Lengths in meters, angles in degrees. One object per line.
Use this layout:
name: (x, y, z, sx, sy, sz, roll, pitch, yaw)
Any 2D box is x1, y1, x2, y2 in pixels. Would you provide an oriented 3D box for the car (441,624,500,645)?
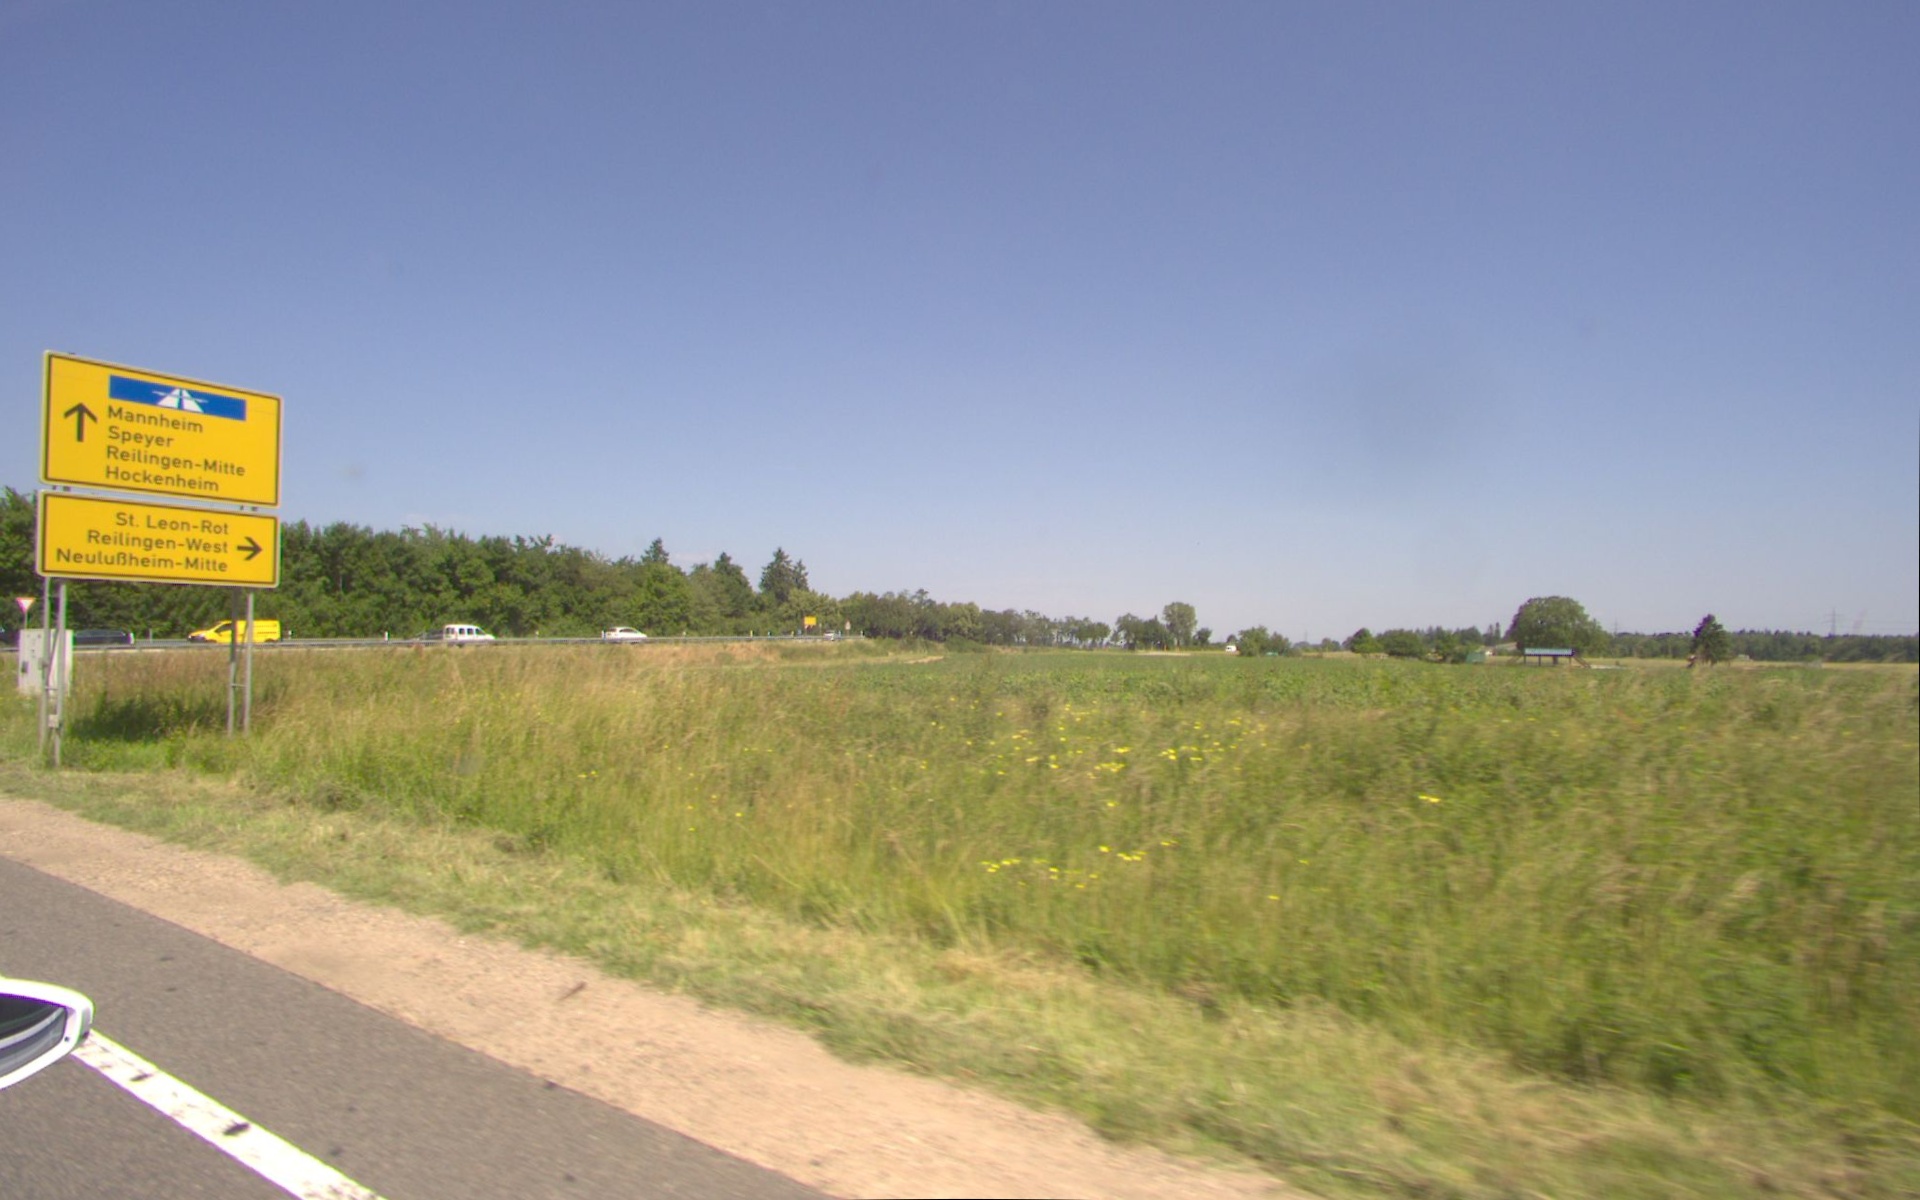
car: (-38.810, 2.760, 79.442, 1.690, 1.589, 3.987, -1, -2, 26)

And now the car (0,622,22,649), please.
car: (-57.360, 2.049, 57.782, 1.744, 1.618, 4.475, -1, -2, 34)

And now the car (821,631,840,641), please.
car: (-16.761, 4.692, 129.808, 1.684, 1.204, 4.001, 0, -2, 6)

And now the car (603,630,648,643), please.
car: (-31.389, 3.433, 94.082, 1.690, 1.204, 3.986, -1, -2, 27)

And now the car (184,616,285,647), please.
car: (-49.879, 2.190, 68.971, 1.972, 2.039, 5.312, -1, -2, 33)

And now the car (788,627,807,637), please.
car: (-26.263, 5.183, 161.399, 1.824, 1.533, 4.682, 1, -2, -25)
